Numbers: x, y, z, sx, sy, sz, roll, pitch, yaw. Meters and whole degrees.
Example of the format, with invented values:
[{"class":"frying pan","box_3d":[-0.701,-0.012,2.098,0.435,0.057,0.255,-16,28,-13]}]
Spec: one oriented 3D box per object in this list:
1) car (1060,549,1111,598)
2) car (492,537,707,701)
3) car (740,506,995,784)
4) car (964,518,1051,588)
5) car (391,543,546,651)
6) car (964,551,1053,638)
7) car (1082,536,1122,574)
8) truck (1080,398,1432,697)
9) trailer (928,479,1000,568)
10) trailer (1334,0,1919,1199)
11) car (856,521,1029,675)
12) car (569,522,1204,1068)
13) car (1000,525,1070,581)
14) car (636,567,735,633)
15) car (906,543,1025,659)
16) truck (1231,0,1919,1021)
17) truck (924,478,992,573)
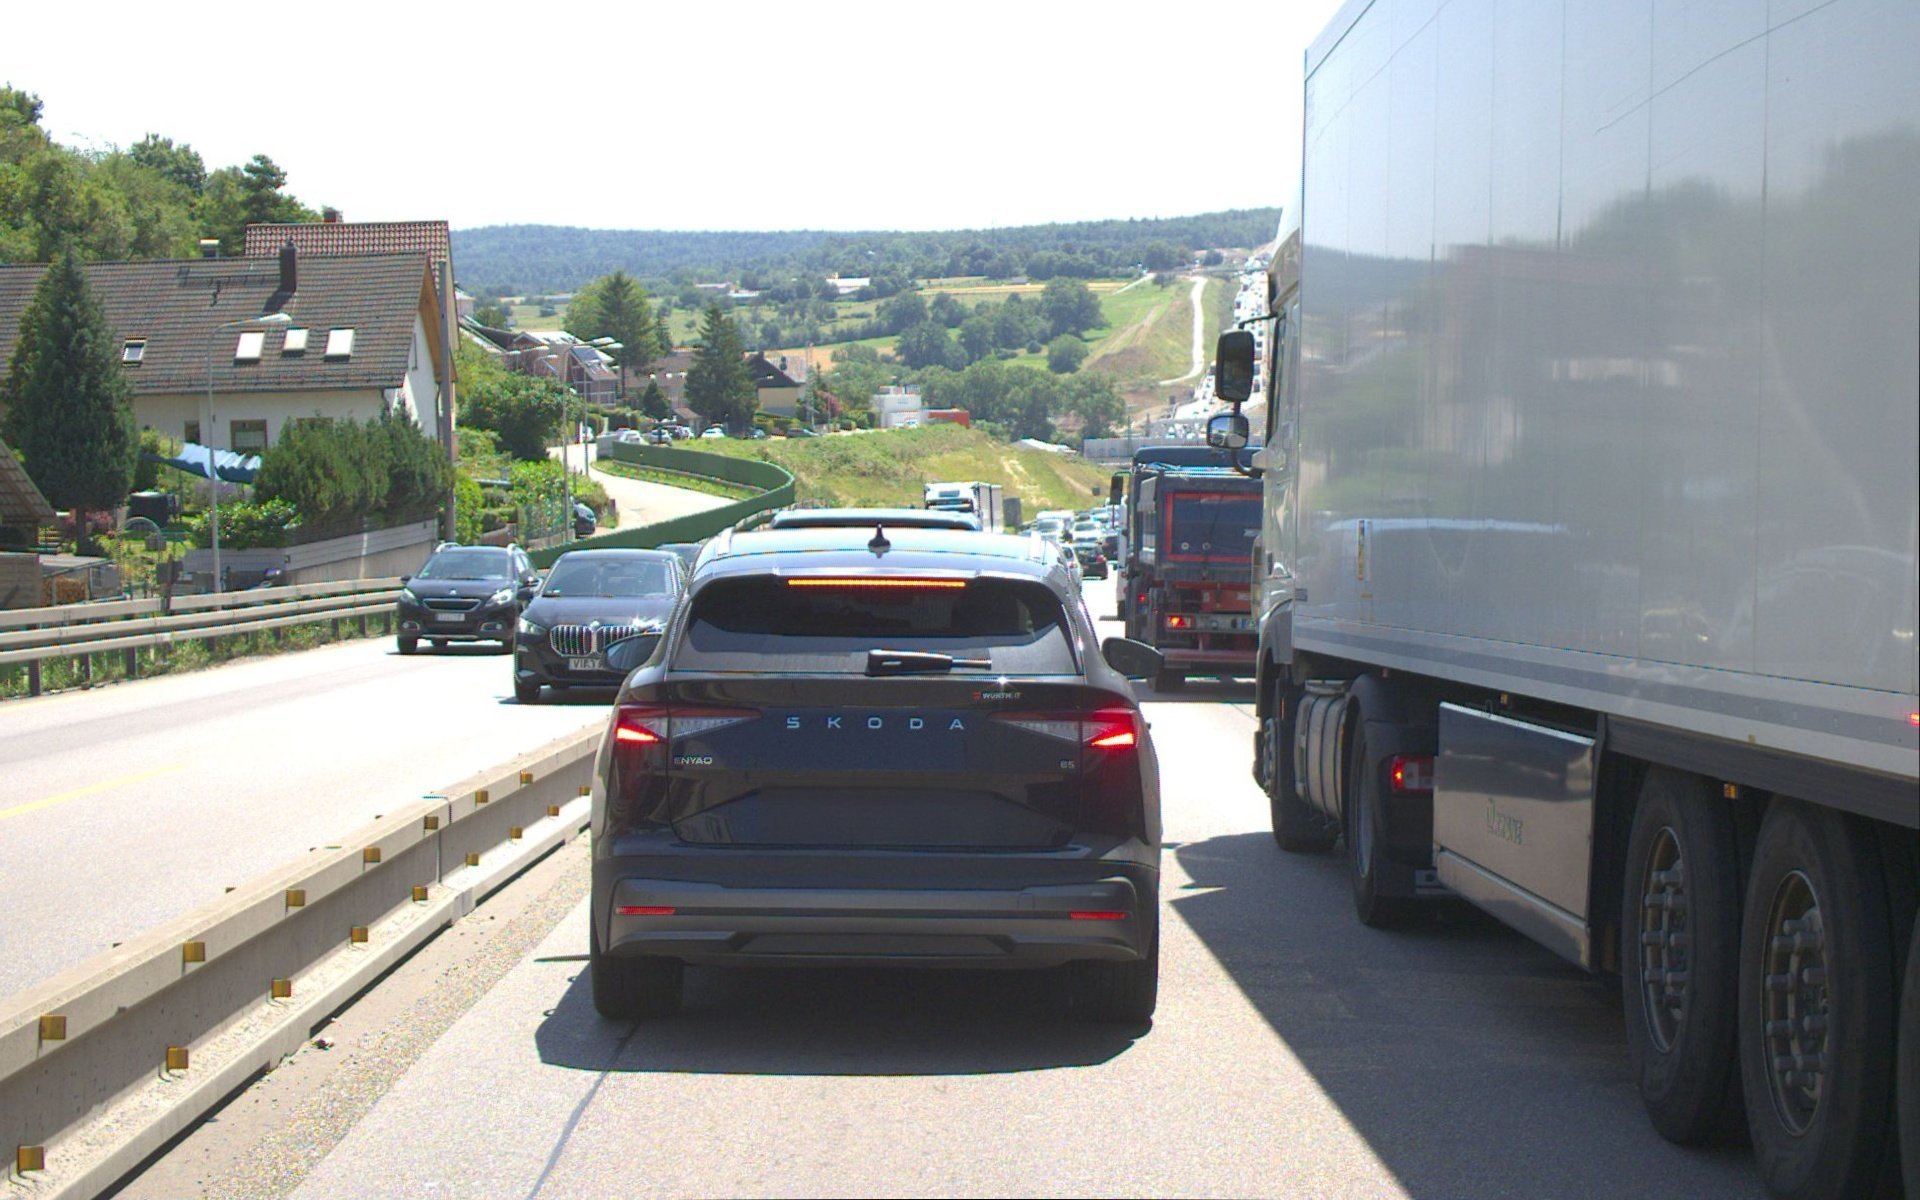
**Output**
[{"class":"car","box_3d":[4.632,-0.964,126.600,1.701,1.722,3.835,1,0,5]},{"class":"car","box_3d":[-3.811,0.190,36.945,1.819,1.581,4.159,3,0,0]},{"class":"car","box_3d":[-0.761,0.257,25.540,1.706,1.875,4.001,1,1,-4]},{"class":"car","box_3d":[1.137,-1.091,82.014,1.993,1.579,3.836,1,0,1]},{"class":"car","box_3d":[-7.007,-0.036,49.339,1.706,1.460,3.681,1,0,-1]},{"class":"car","box_3d":[0.949,-0.138,69.406,1.707,1.616,4.000,1,1,0]},{"class":"car","box_3d":[6.713,-2.129,162.291,1.701,1.722,3.835,1,0,5]},{"class":"truck","box_3d":[3.414,-0.562,43.448,3.195,3.180,12.809,1,0,-1]},{"class":"trailer","box_3d":[0.236,-3.665,163.093,2.757,4.056,8.006,1,2,4]},{"class":"trailer","box_3d":[2.994,-0.797,8.817,2.531,4.113,11.548,1,0,-1]},{"class":"car","box_3d":[-0.247,-0.068,39.304,1.706,1.616,4.001,1,1,-4]},{"class":"car","box_3d":[-0.338,0.579,12.087,1.842,1.581,3.908,1,0,-4]},{"class":"car","box_3d":[2.208,-1.366,101.308,1.993,1.579,3.836,1,0,1]},{"class":"car","box_3d":[-6.137,0.003,77.186,1.841,1.413,4.687,-1,0,0]},{"class":"car","box_3d":[0.071,-0.014,52.257,1.707,1.616,4.000,1,1,0]},{"class":"truck","box_3d":[2.895,-0.629,15.385,2.513,4.011,8.238,1,0,-1]},{"class":"truck","box_3d":[-0.065,-3.429,158.217,2.752,4.269,4.957,1,1,3]}]
